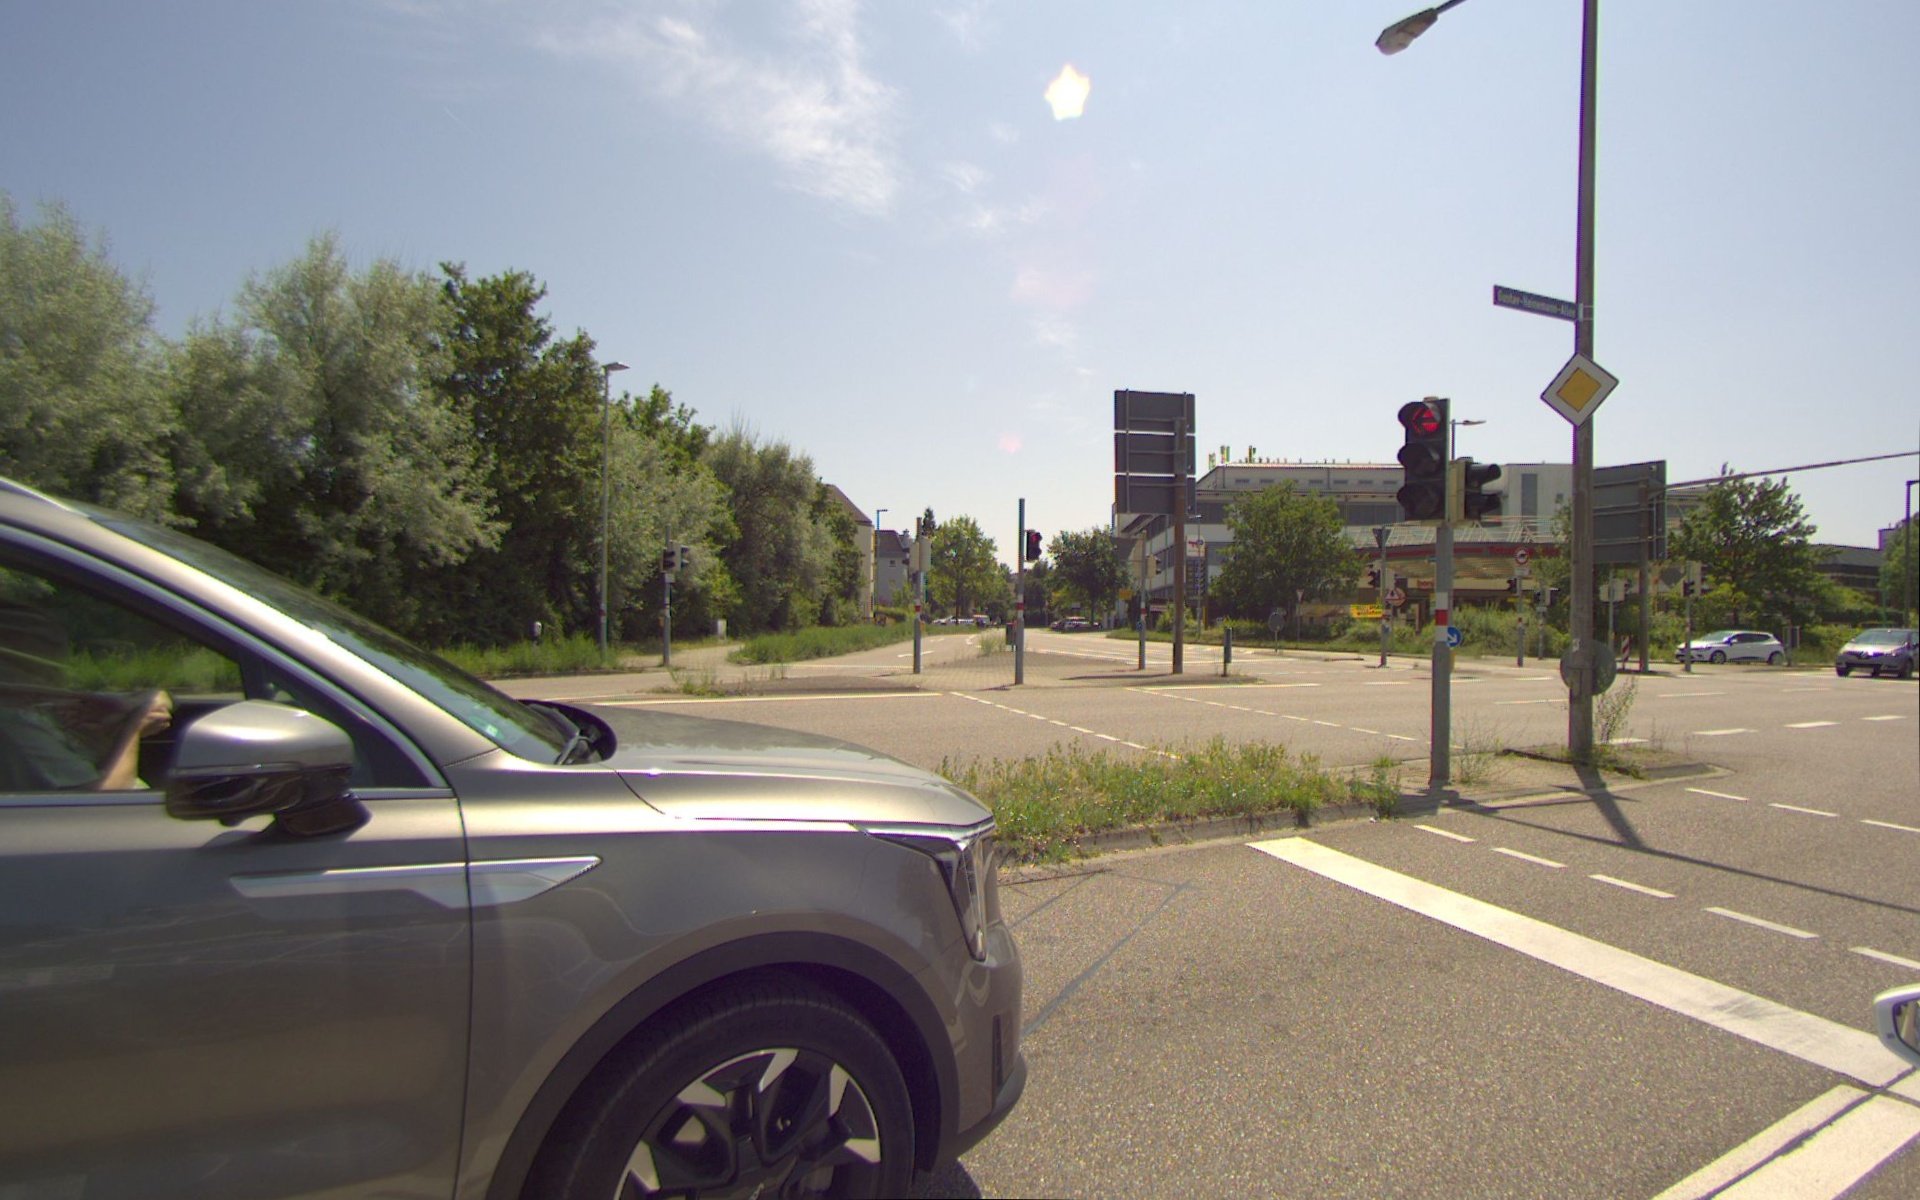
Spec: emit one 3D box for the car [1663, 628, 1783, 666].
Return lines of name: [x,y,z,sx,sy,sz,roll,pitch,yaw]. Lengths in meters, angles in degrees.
car: [31.889,1.948,42.032,3.756,1.469,1.827,2,-1,-6]

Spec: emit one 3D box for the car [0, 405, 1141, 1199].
car: [-1.941,0.589,1.943,4.480,1.690,1.771,2,-1,-31]

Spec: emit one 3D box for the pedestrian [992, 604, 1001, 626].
pedestrian: [4.687,1.957,128.481,0.864,2.751,1.518,2,0,8]

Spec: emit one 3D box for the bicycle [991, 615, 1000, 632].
bicycle: [4.546,2.986,128.186,0.876,2.040,3.196,1,-1,6]

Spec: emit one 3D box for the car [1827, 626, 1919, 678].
car: [29.850,1.642,32.470,3.954,1.560,1.650,1,-1,-31]
